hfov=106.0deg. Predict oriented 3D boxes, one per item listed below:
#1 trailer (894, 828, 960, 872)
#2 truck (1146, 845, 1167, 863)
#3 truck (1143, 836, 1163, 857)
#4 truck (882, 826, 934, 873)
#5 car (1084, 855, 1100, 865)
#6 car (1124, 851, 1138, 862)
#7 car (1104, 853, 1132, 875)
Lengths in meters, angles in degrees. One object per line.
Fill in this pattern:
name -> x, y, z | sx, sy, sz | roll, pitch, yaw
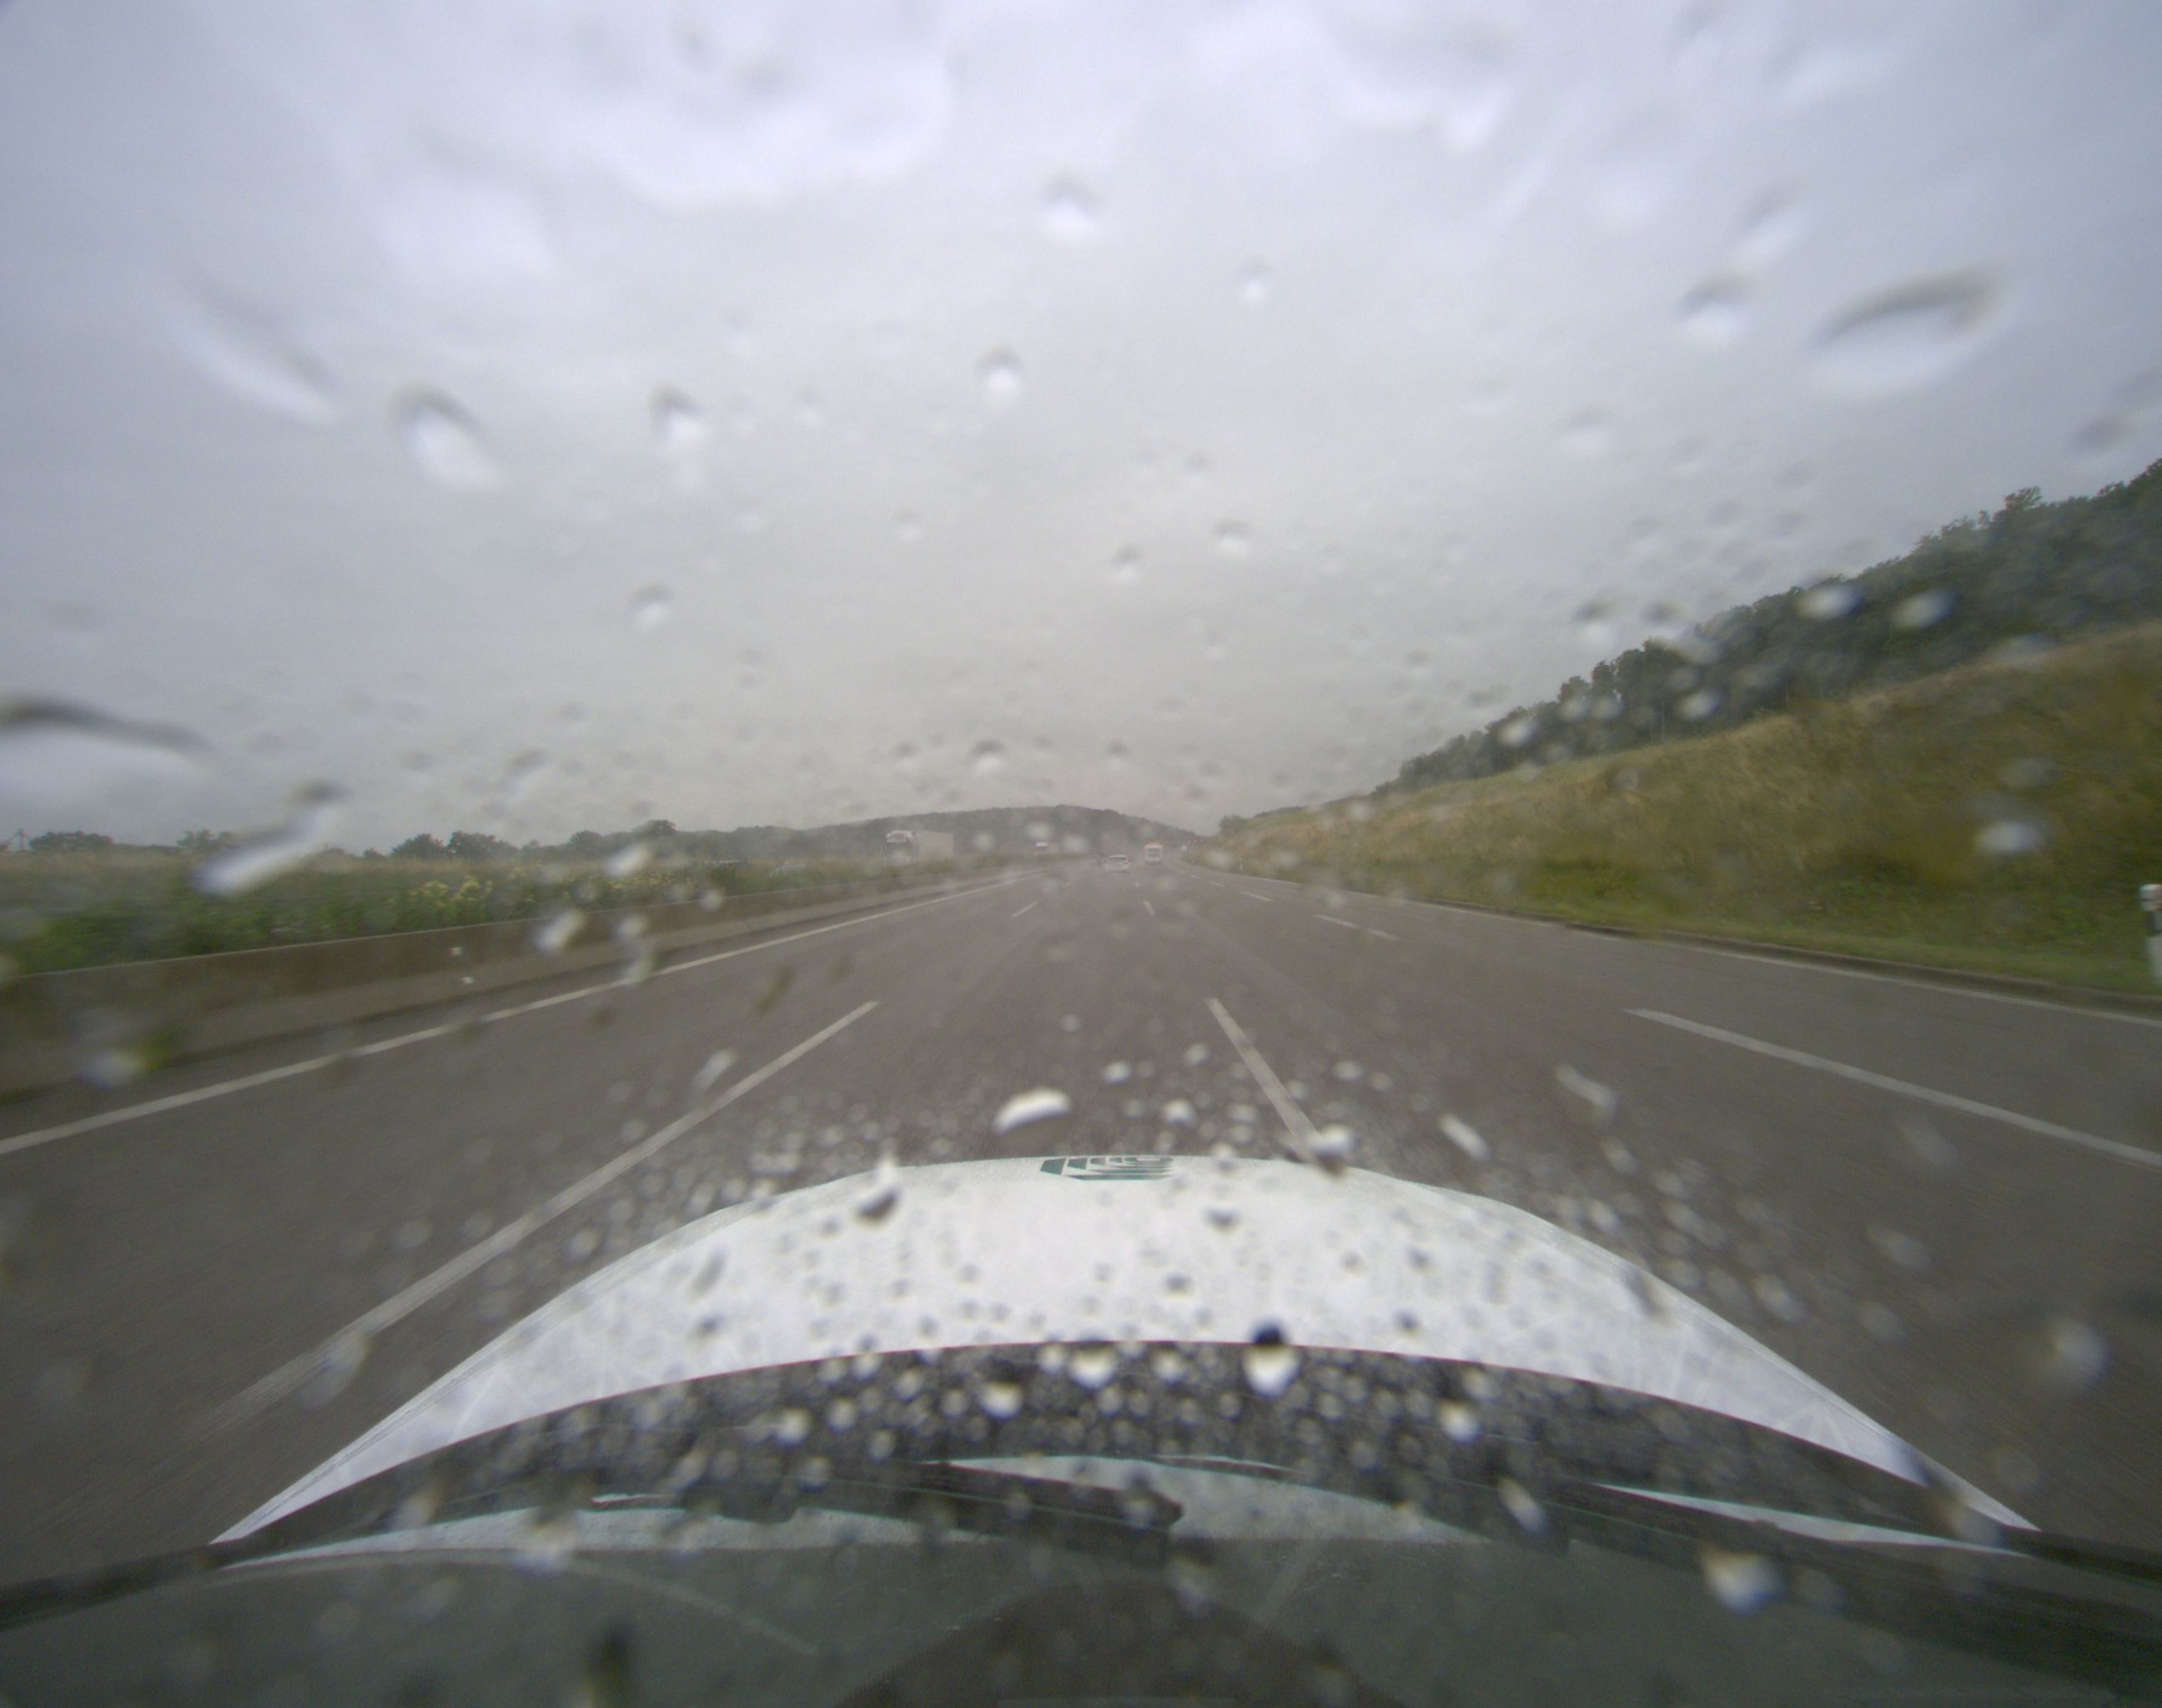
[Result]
trailer -> -15.131, -0.386, 81.344 | 2.931, 3.982, 14.319 | -1, 0, 4
truck -> 9.761, -0.032, 105.625 | 2.398, 2.252, 4.696 | -1, 0, 2
truck -> 13.557, -1.419, 153.794 | 3.512, 3.742, 11.438 | -1, 1, 4
truck -> -15.604, -0.387, 73.745 | 2.940, 3.994, 6.222 | -1, 0, 3
car -> 1.317, 0.727, 97.137 | 1.818, 1.156, 4.212 | -1, -1, 0
car -> 7.870, 0.397, 127.958 | 1.987, 1.618, 4.000 | -1, 0, 0
car -> 2.664, 0.703, 58.252 | 1.860, 1.463, 4.003 | -1, -1, 3
